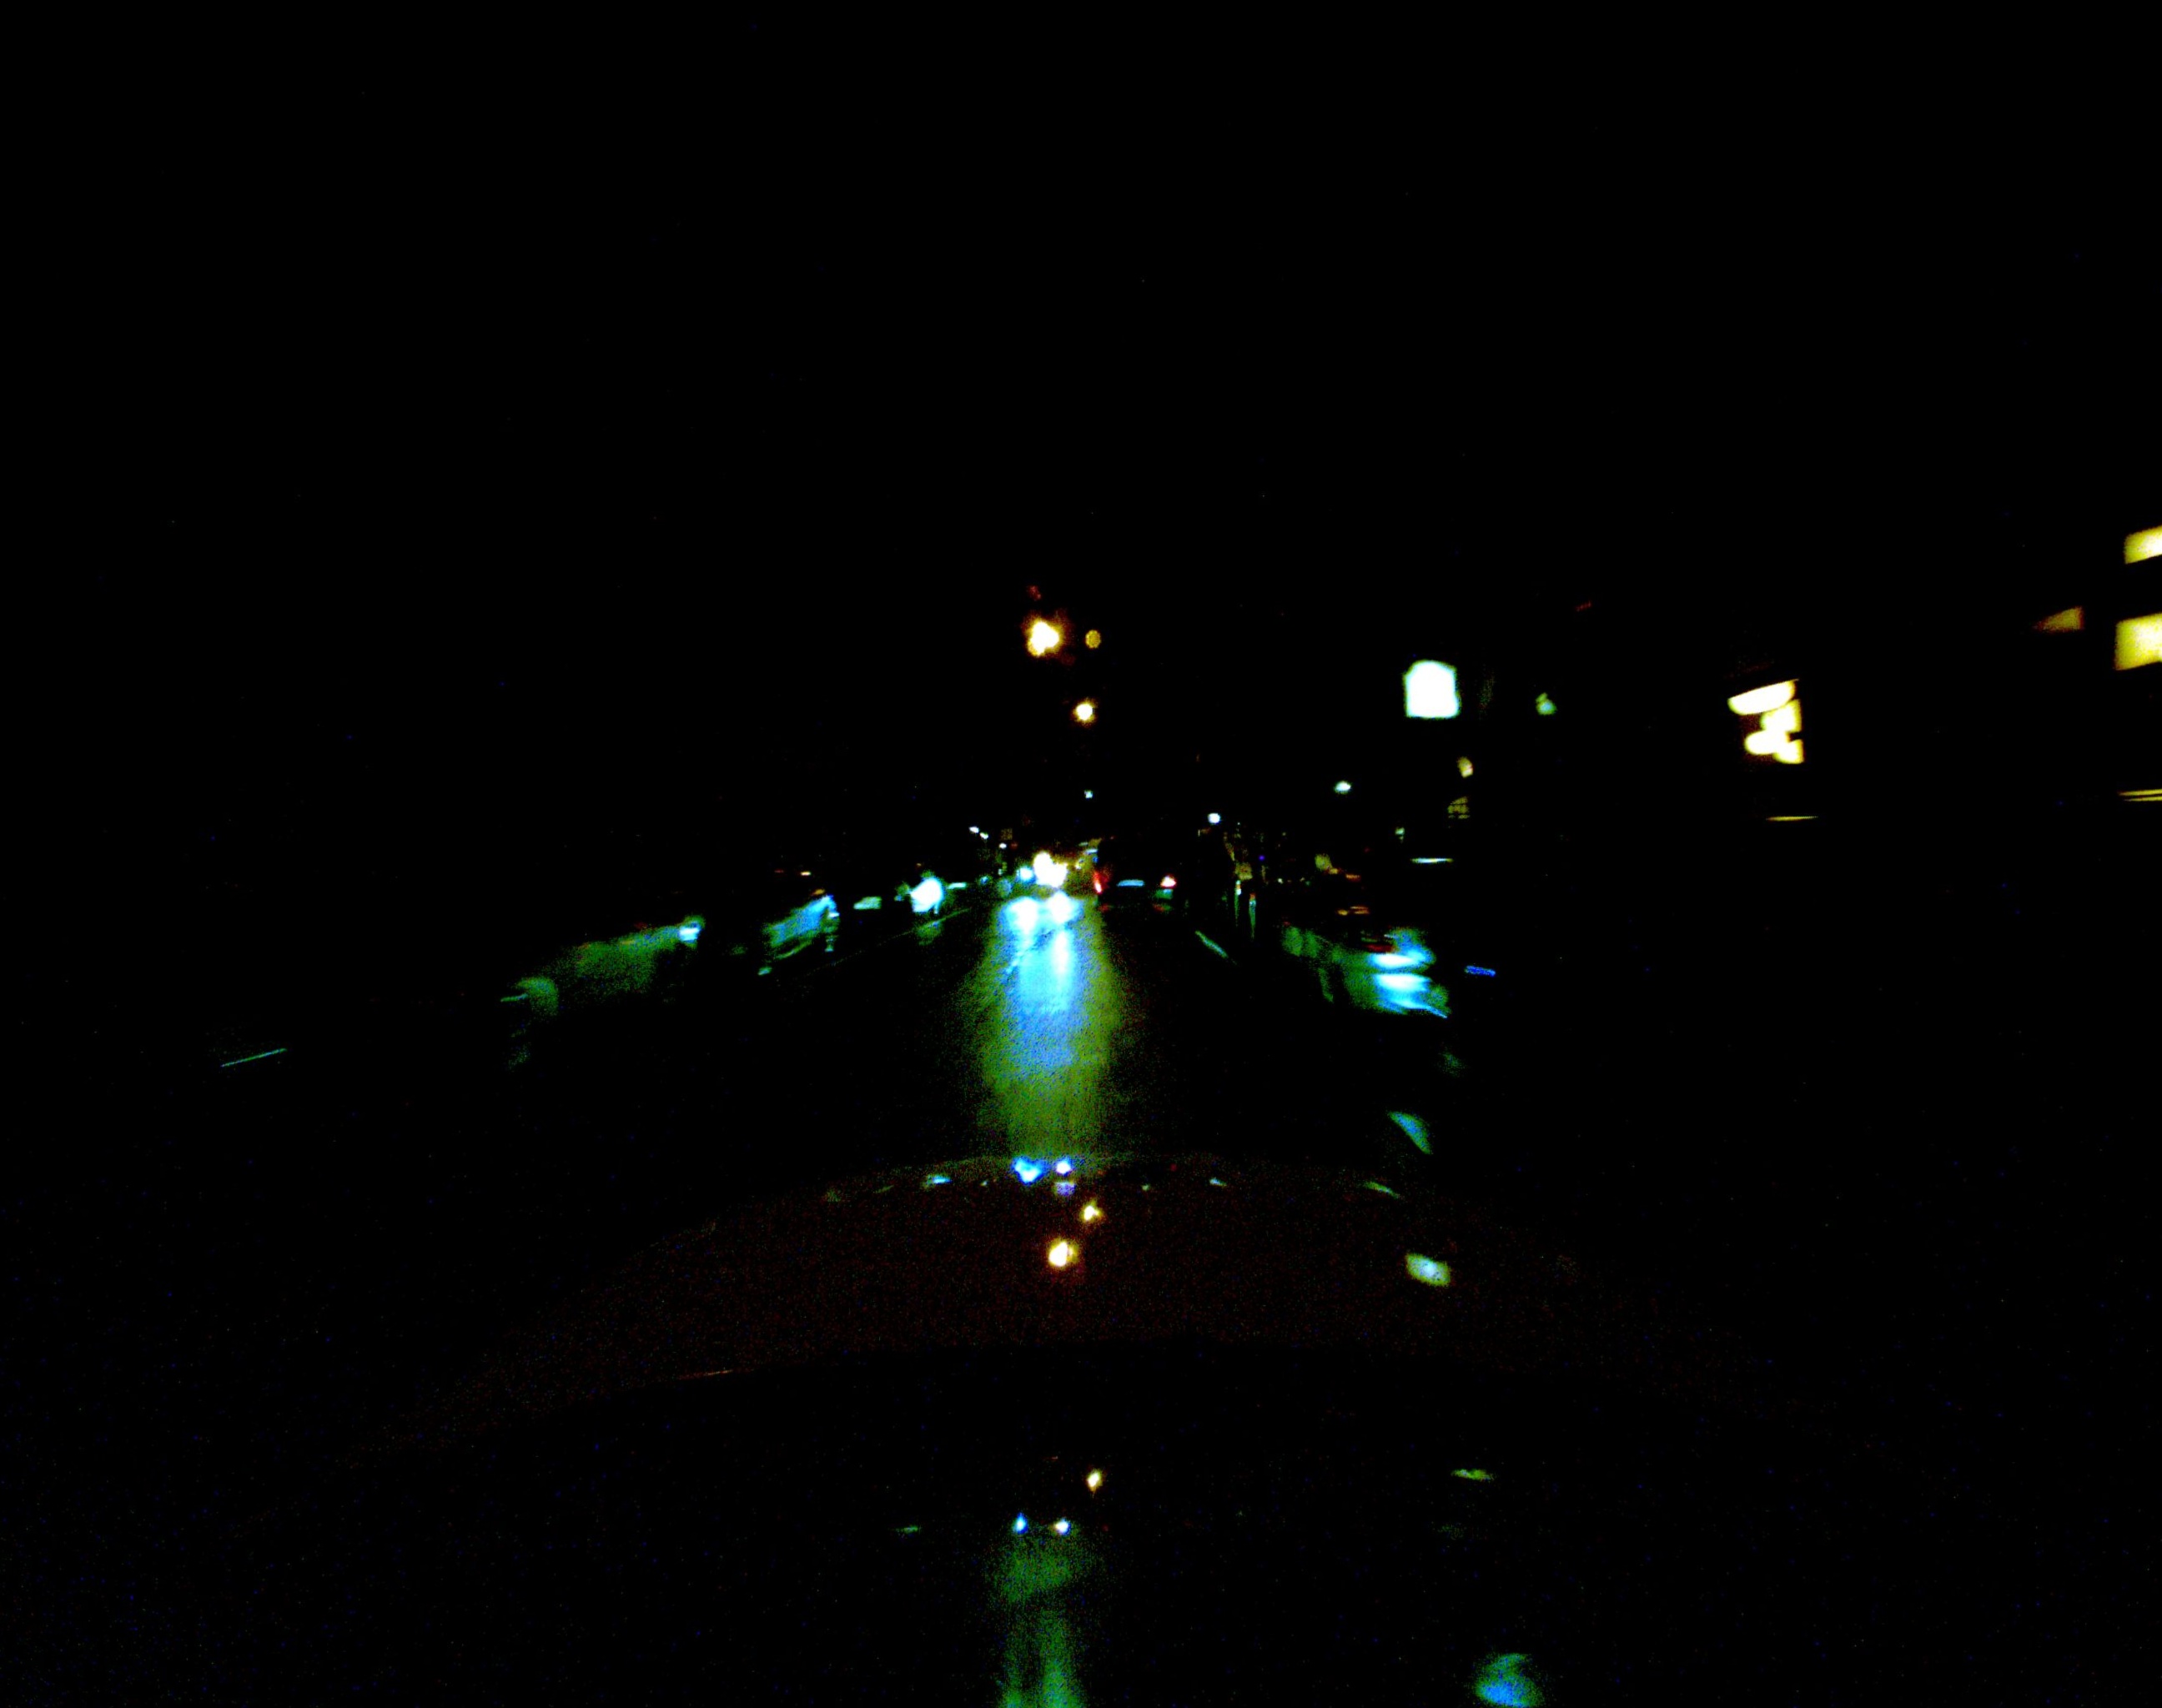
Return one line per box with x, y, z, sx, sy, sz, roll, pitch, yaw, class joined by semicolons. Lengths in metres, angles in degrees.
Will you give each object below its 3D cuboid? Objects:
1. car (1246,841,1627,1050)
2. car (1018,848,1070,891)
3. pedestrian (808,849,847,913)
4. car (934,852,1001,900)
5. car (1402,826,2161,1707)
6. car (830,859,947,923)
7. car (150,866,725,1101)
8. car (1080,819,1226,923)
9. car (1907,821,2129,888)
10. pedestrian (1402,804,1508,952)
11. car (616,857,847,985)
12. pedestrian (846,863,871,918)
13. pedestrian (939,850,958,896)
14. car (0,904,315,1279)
2.938;0.659;7.806;1.911;1.412;4.000;-2;0;1;car
-1.541;0.617;35.135;1.914;1.618;4.574;-4;0;0;car
-7.269;0.770;23.375;0.739;1.804;0.988;0;-1;5;pedestrian
-4.418;0.811;32.396;1.826;1.717;4.596;-2;0;2;car
2.650;0.689;2.671;1.683;1.498;3.892;-2;0;1;car
-4.947;0.891;21.610;1.826;1.486;4.596;-2;0;2;car
-5.261;0.902;7.610;1.826;1.481;4.308;-2;0;2;car
1.806;0.351;18.587;1.978;2.049;4.719;-2;0;22;car
22.521;0.021;19.672;3.391;1.458;1.611;-2;0;2;car
4.856;0.292;10.651;0.858;1.788;1.084;-4;0;5;pedestrian
-5.008;0.869;12.289;1.739;1.588;3.767;-2;0;2;car
-6.471;1.045;23.706;0.657;1.552;0.759;1;-1;-13;pedestrian
-5.795;0.831;35.735;0.653;1.974;0.770;0;-1;3;pedestrian
-5.170;0.986;2.245;1.815;1.390;4.427;-2;0;2;car
